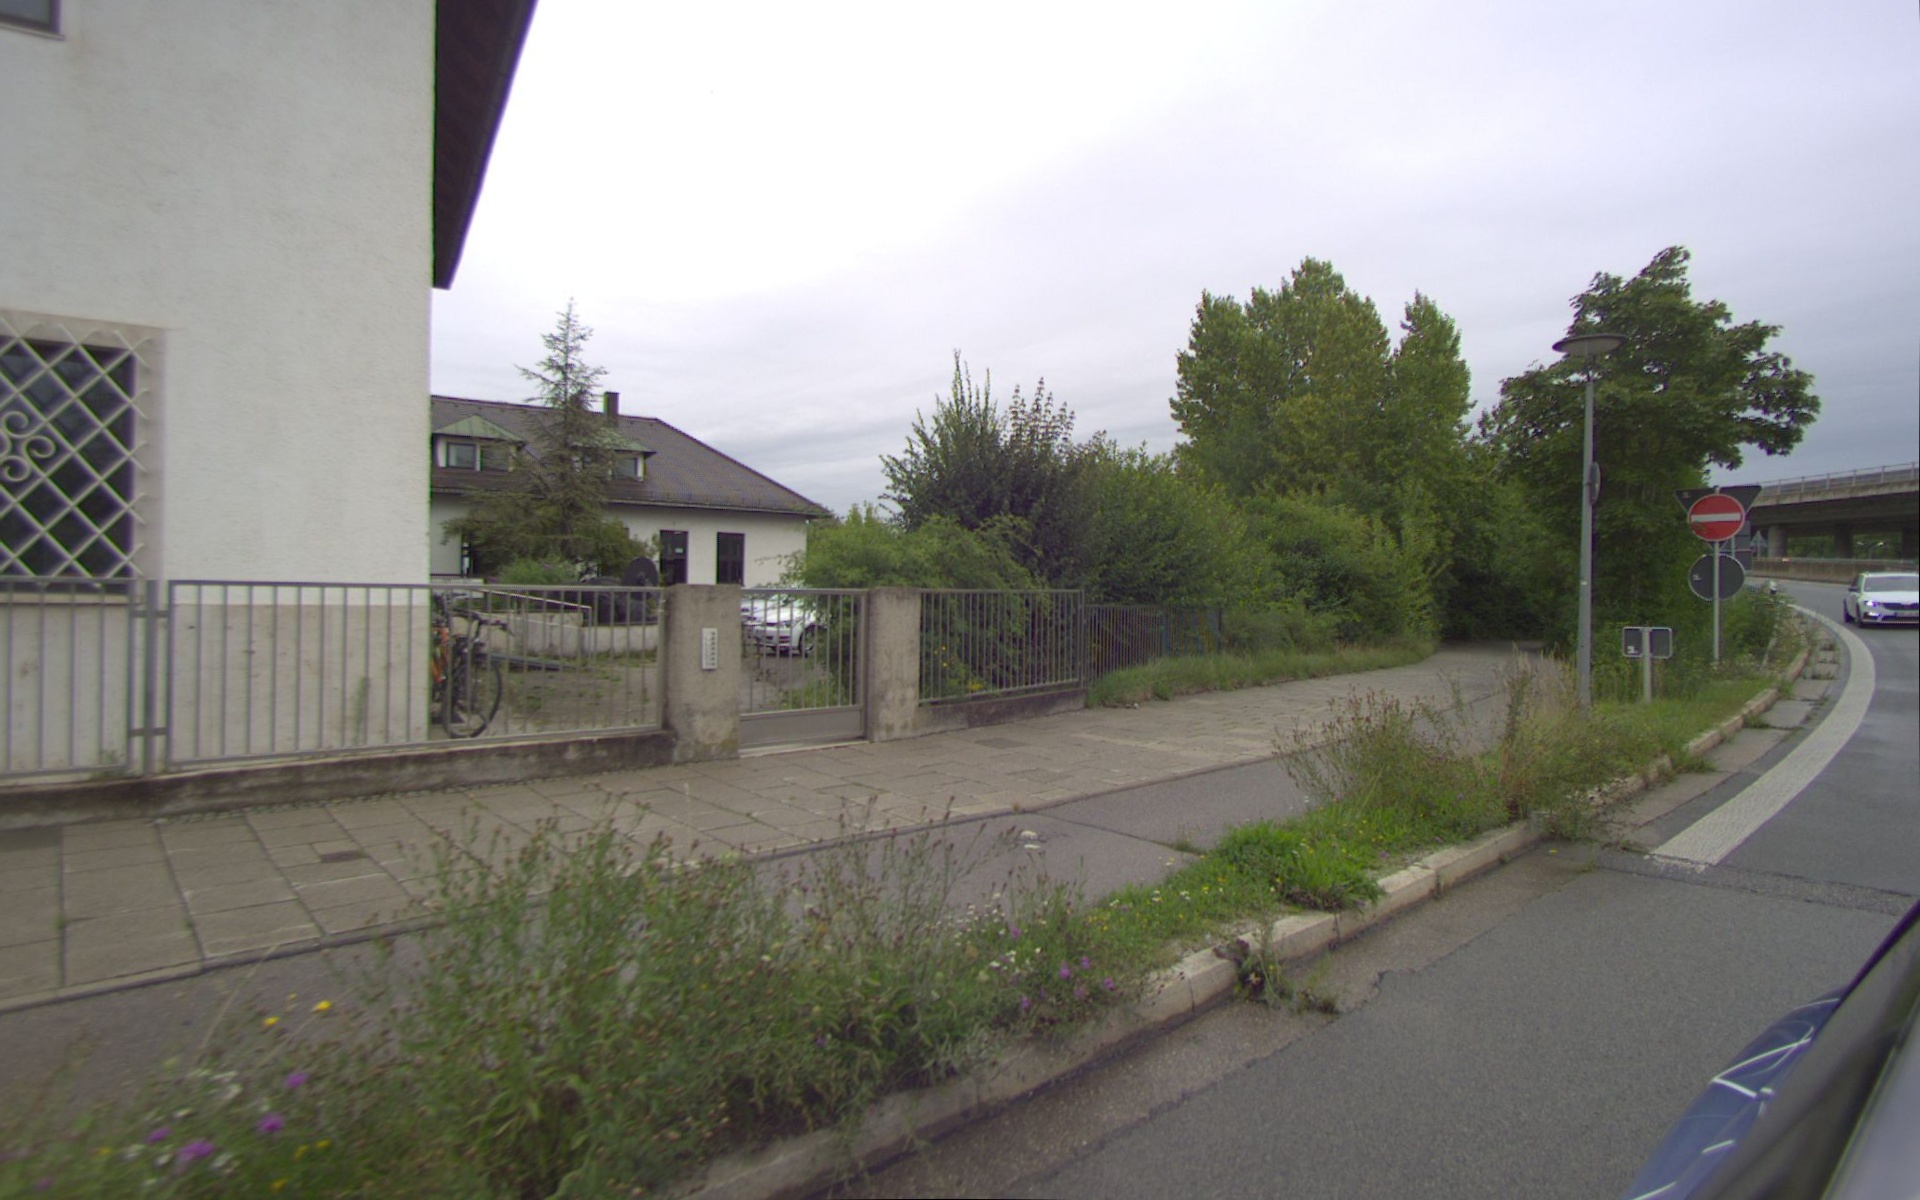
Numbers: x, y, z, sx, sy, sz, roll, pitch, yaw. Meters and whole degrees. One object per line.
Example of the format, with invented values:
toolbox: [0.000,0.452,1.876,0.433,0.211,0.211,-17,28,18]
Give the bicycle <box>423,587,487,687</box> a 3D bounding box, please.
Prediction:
bicycle: [-6.206,0.411,12.388,0.464,1.126,1.851,0,0,-34]

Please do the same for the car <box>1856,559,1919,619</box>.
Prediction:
car: [25.928,-0.356,27.592,1.906,1.465,4.495,-2,1,38]

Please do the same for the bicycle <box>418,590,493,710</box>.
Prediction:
bicycle: [-5.223,0.463,10.428,0.464,1.126,1.851,0,0,-34]

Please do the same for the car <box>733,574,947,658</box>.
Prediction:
car: [-2.563,0.371,22.050,4.167,1.549,1.880,4,-1,-34]

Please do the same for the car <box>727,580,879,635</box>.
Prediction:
car: [-4.835,0.234,31.285,4.166,1.440,1.881,4,-1,-32]

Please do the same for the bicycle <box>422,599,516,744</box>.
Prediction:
bicycle: [-4.195,0.545,8.593,0.464,1.083,1.851,0,0,-34]
